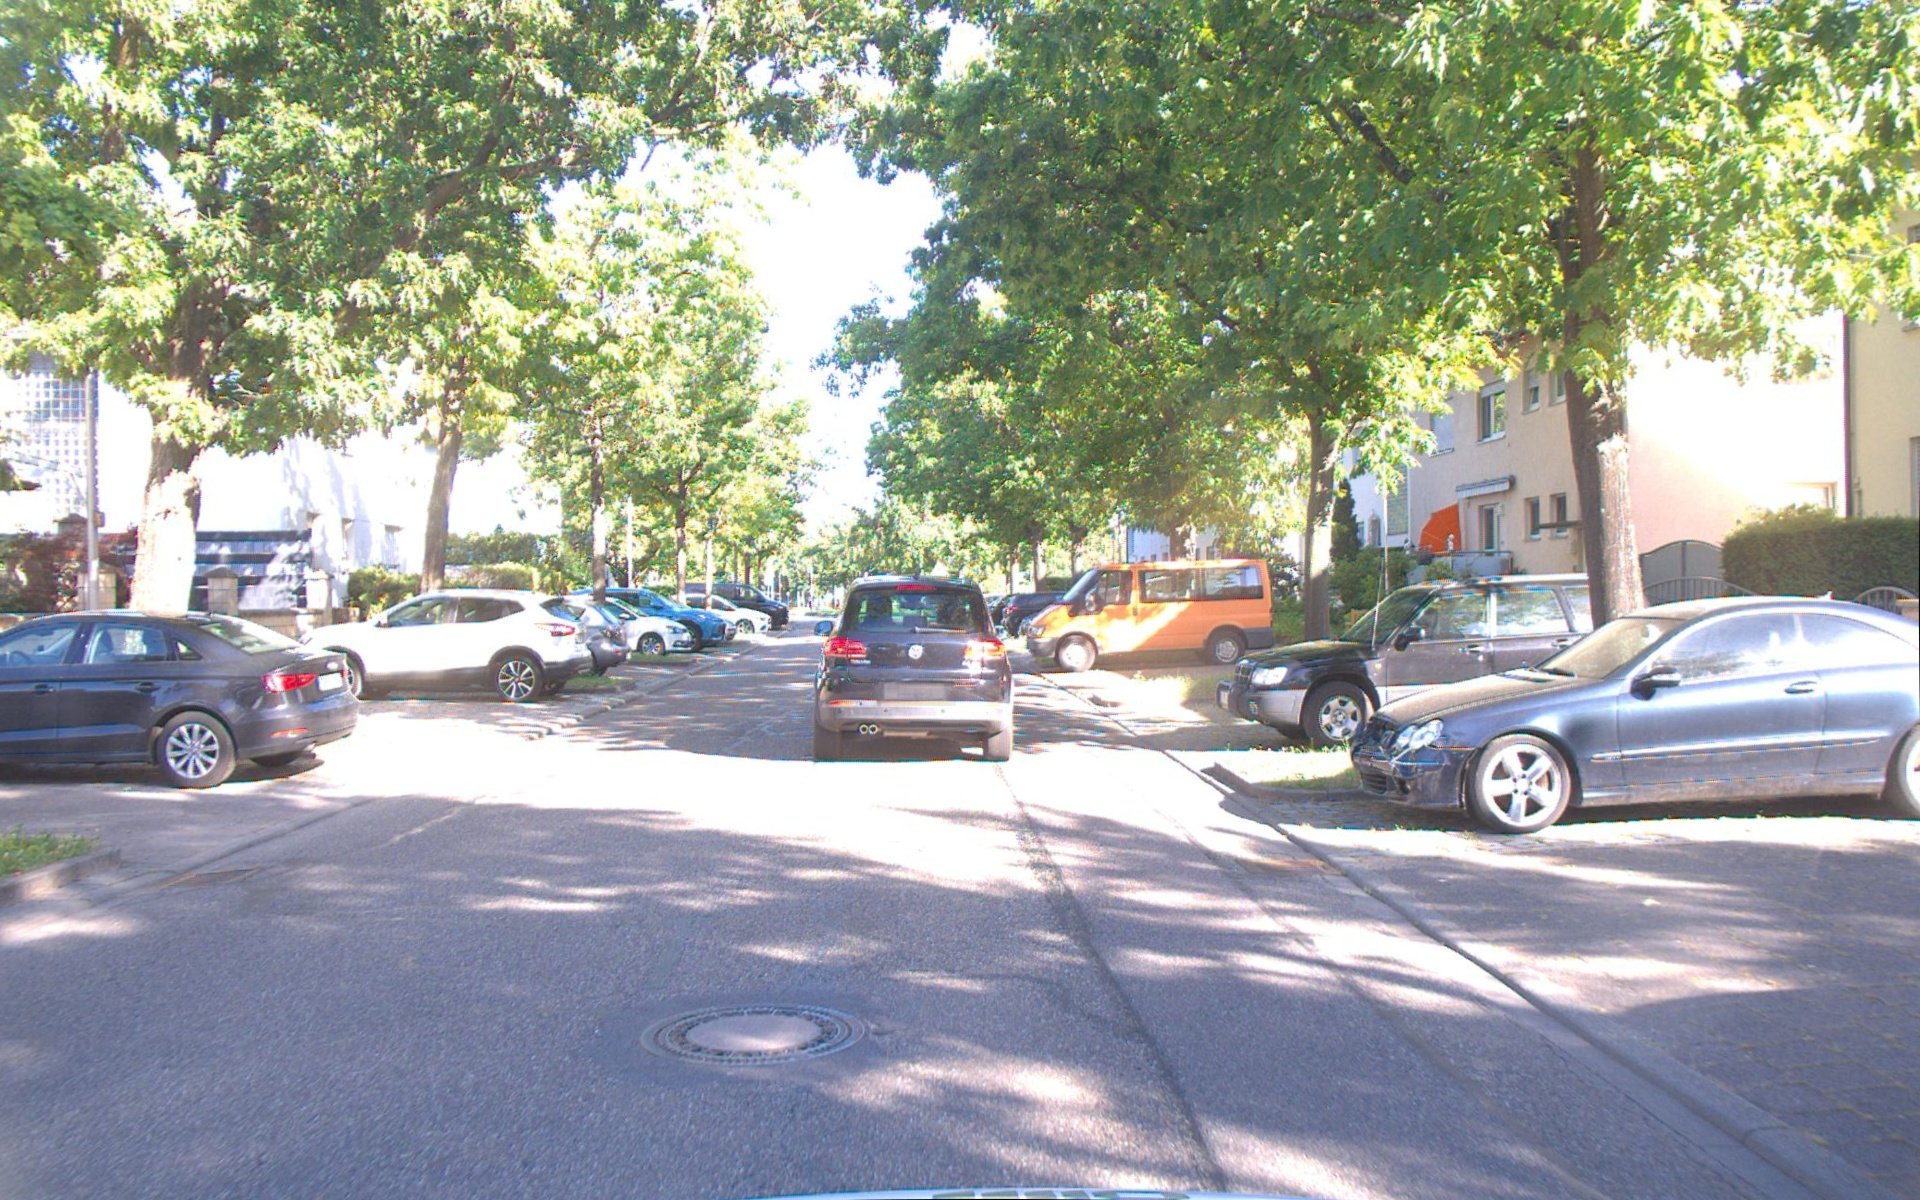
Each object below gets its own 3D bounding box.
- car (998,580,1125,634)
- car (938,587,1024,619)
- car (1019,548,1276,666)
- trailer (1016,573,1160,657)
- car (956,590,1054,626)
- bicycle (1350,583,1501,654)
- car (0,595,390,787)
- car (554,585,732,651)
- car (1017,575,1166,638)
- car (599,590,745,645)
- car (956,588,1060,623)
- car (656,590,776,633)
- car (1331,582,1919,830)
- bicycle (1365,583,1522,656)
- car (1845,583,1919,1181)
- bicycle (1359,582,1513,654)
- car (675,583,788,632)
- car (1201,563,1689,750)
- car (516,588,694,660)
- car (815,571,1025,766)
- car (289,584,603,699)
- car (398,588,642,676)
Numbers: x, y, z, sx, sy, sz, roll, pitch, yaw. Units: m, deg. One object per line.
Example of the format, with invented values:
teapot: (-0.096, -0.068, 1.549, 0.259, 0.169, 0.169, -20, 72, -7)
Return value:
car: (3.133, 0.206, 51.537, 3.804, 1.542, 1.660, -1, 0, -2)
car: (1.076, 0.155, 86.674, 4.340, 1.517, 1.796, -1, 0, -3)
car: (3.604, 0.123, 32.431, 4.722, 2.120, 2.085, -1, 0, -2)
trailer: (2.860, 0.329, 37.196, 2.891, 1.693, 1.612, -3, 0, -8)
car: (1.948, 0.350, 72.980, 4.191, 1.439, 1.796, -1, 0, -3)
bicycle: (9.114, 0.358, 32.424, 2.801, 1.258, 0.468, -2, 0, -2)
car: (-7.312, 0.756, 14.350, 4.126, 1.497, 1.690, -1, 0, -2)
car: (-8.449, 0.480, 44.372, 4.433, 1.660, 1.936, -1, -1, -2)
car: (3.621, 0.191, 45.983, 3.909, 1.652, 1.755, -1, -1, -5)
car: (-8.564, 0.523, 49.393, 4.098, 1.518, 1.646, -1, -1, -2)
car: (2.025, 0.231, 70.260, 4.260, 1.386, 1.872, -2, 0, -4)
car: (-8.948, 0.404, 60.875, 4.190, 1.504, 1.768, 1, 0, -3)
car: (4.874, 0.651, 11.144, 4.337, 1.354, 1.691, -3, 0, 0)
bicycle: (9.182, 0.371, 31.441, 2.801, 1.259, 0.468, -2, -1, -2)
car: (4.606, 0.639, 3.710, 4.233, 1.556, 1.840, -2, -1, -2)
bicycle: (9.174, 0.348, 31.929, 2.801, 1.259, 0.468, -3, -1, -2)
car: (-9.815, 0.317, 71.443, 4.685, 1.950, 2.016, -1, 0, -5)
car: (4.703, 0.519, 16.451, 4.251, 1.587, 1.867, -2, 0, -3)
car: (-8.498, 0.579, 39.867, 3.907, 1.623, 1.856, -1, -1, -2)
car: (-0.352, 0.584, 16.134, 1.800, 1.665, 3.957, 0, 0, 0)
car: (-7.579, 0.590, 24.686, 4.102, 1.594, 1.792, 1, 0, -1)
car: (-7.908, 0.568, 30.044, 3.954, 1.448, 1.809, 2, 0, -4)
